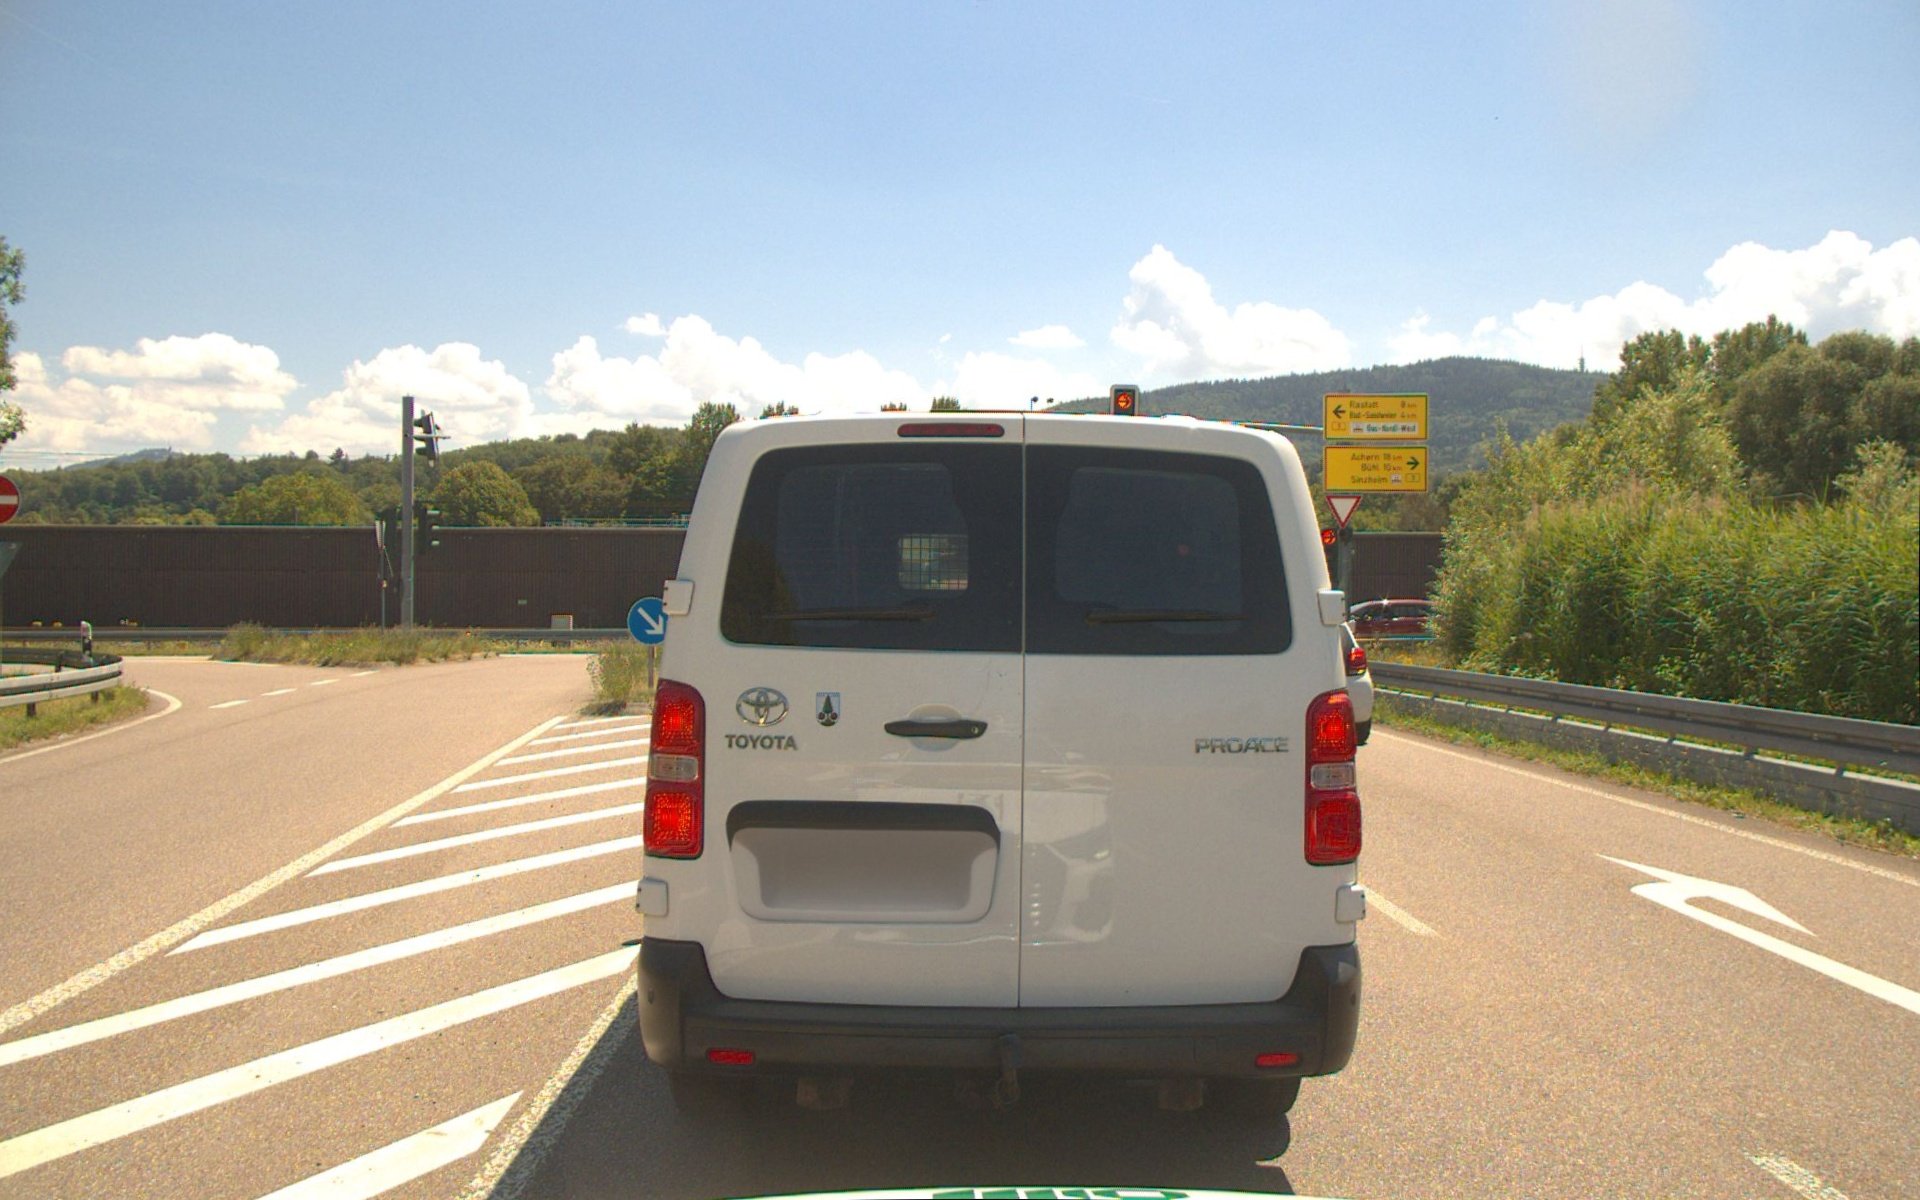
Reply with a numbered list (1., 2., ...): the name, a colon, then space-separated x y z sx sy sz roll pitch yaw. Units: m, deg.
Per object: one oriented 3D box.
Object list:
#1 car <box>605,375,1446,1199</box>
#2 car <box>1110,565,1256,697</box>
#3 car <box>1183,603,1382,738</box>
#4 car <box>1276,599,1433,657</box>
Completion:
1. car: 0.109 0.484 5.673 1.848 1.919 3.999 1 0 -1
2. car: 3.704 0.499 28.266 1.889 2.035 4.838 1 0 1
3. car: 3.745 0.773 19.685 1.622 1.456 3.364 1 0 -2
4. car: 11.878 0.839 50.010 4.225 1.685 1.998 0 0 -4
